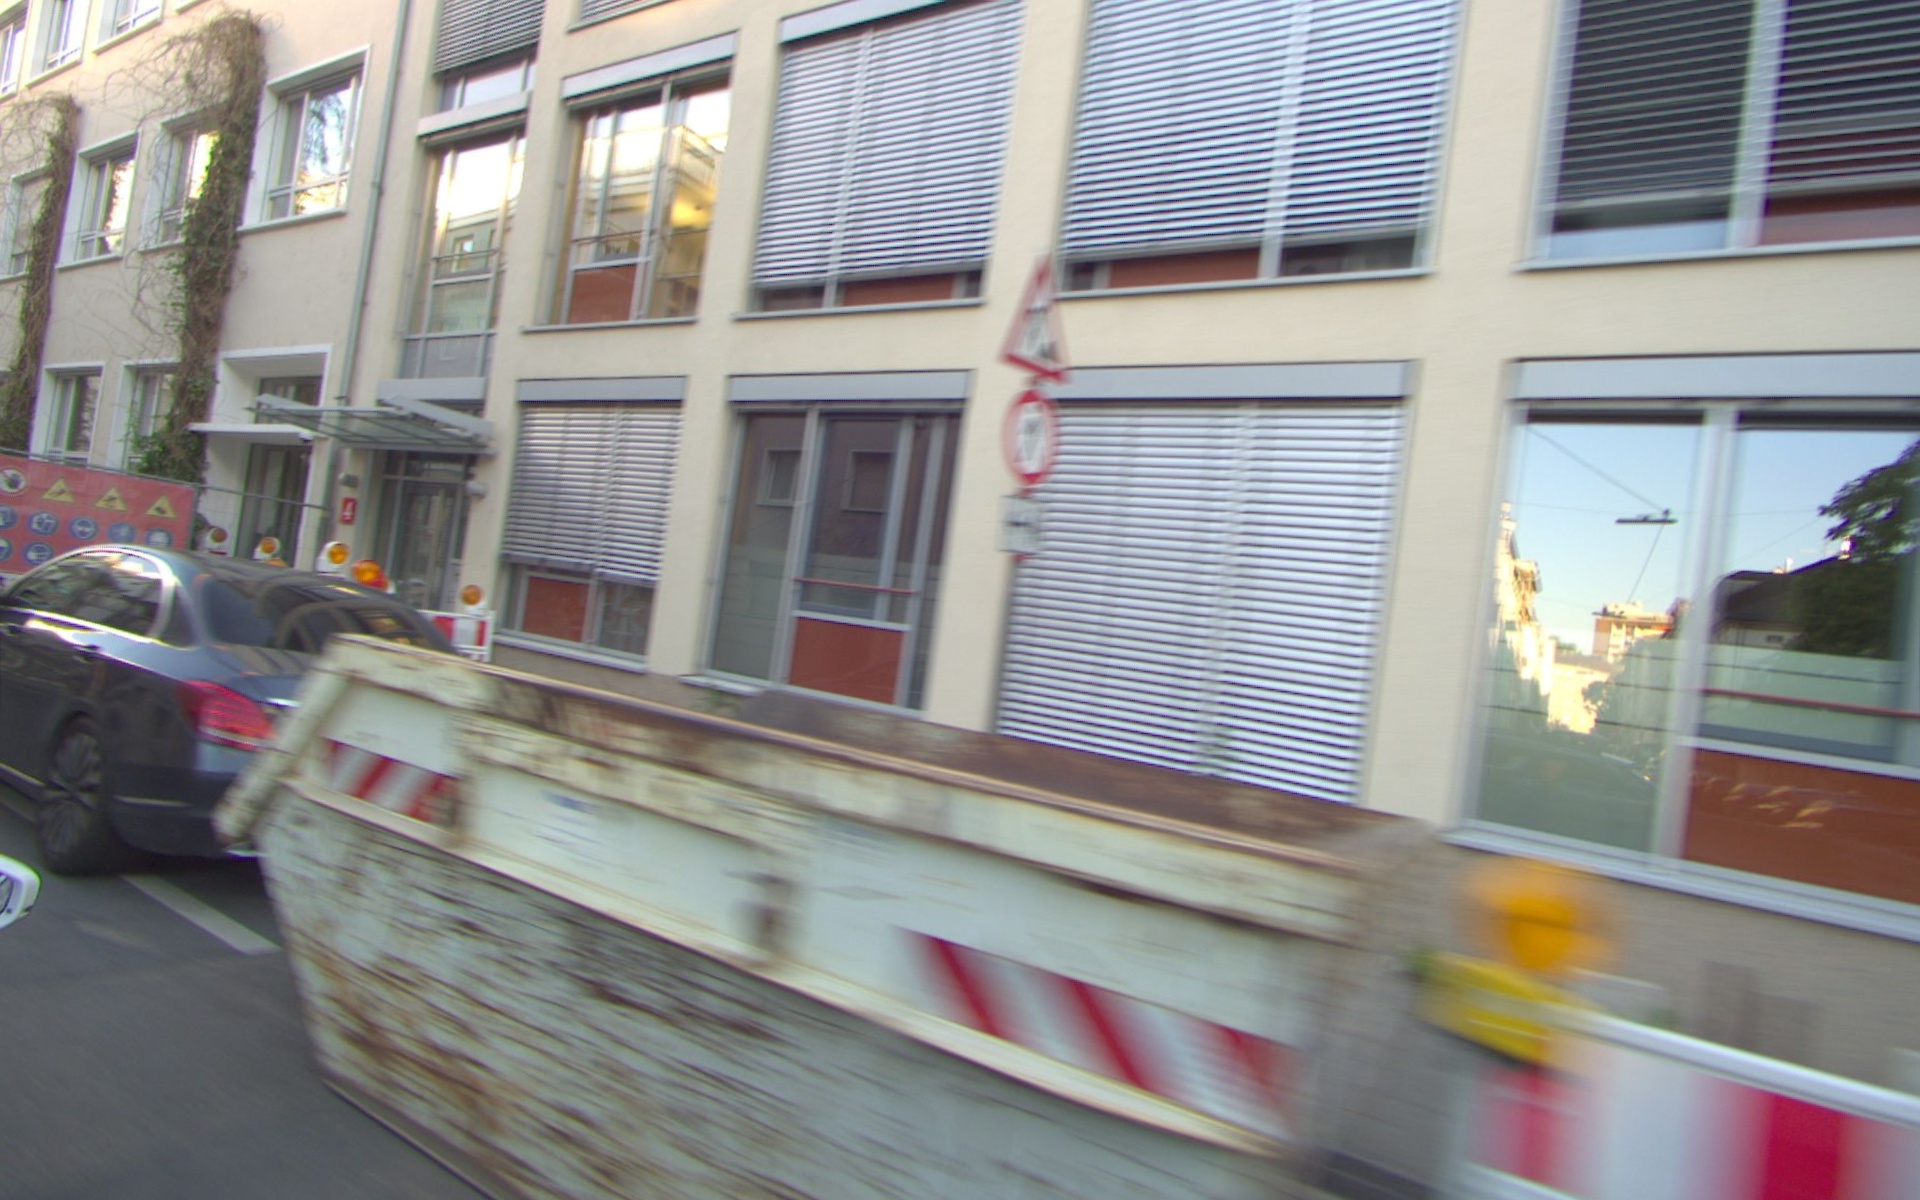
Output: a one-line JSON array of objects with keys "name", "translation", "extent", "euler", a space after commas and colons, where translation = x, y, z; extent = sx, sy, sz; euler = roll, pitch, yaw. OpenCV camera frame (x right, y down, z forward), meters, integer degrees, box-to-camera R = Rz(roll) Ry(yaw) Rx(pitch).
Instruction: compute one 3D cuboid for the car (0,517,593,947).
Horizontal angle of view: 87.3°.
[{"name": "car", "translation": [-4.254, 0.435, 5.552], "extent": [4.405, 1.421, 1.698], "euler": [7, -3, 32]}]
